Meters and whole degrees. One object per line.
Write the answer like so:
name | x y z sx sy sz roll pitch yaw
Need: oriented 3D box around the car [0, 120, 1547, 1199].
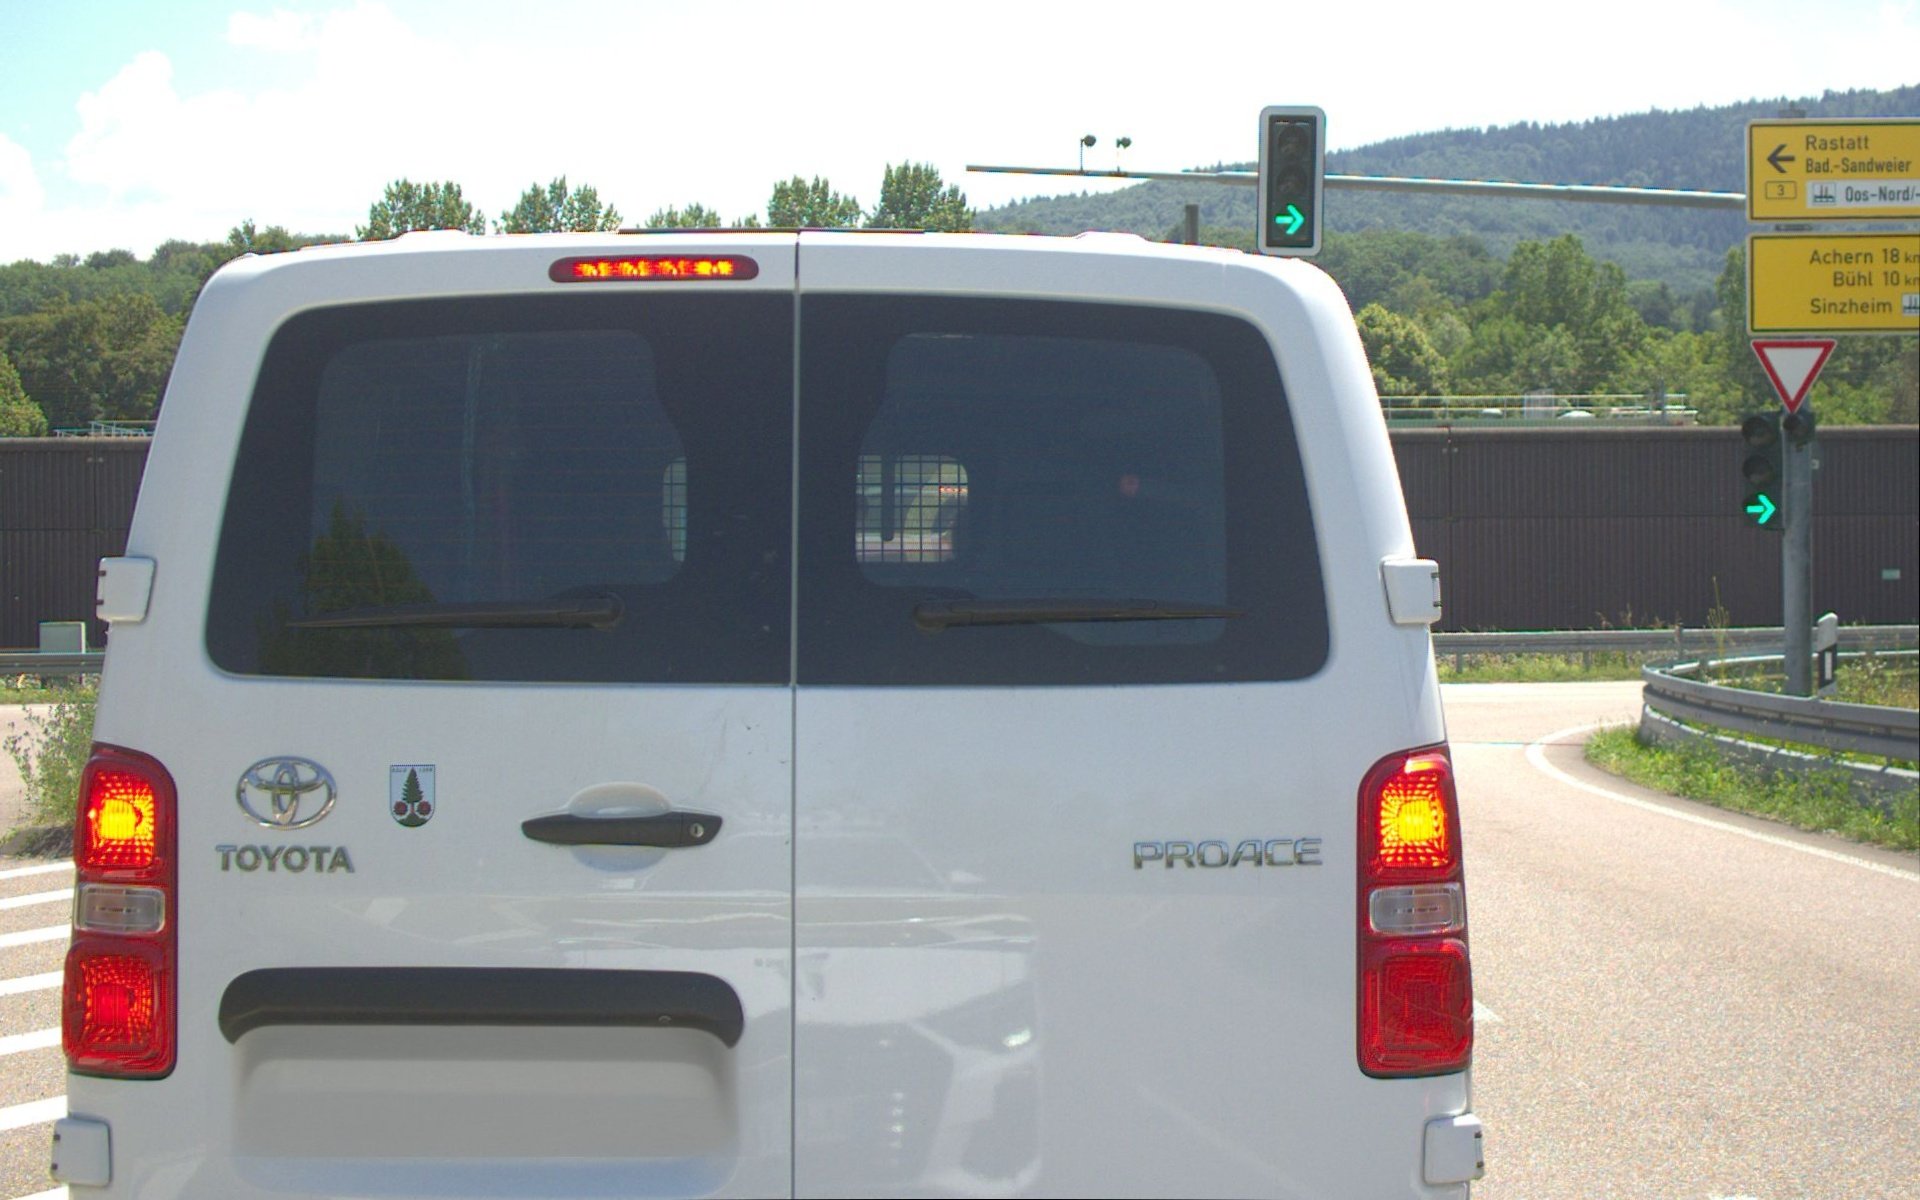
car | -0.261 0.439 5.947 1.814 2.011 4.000 0 1 -1
